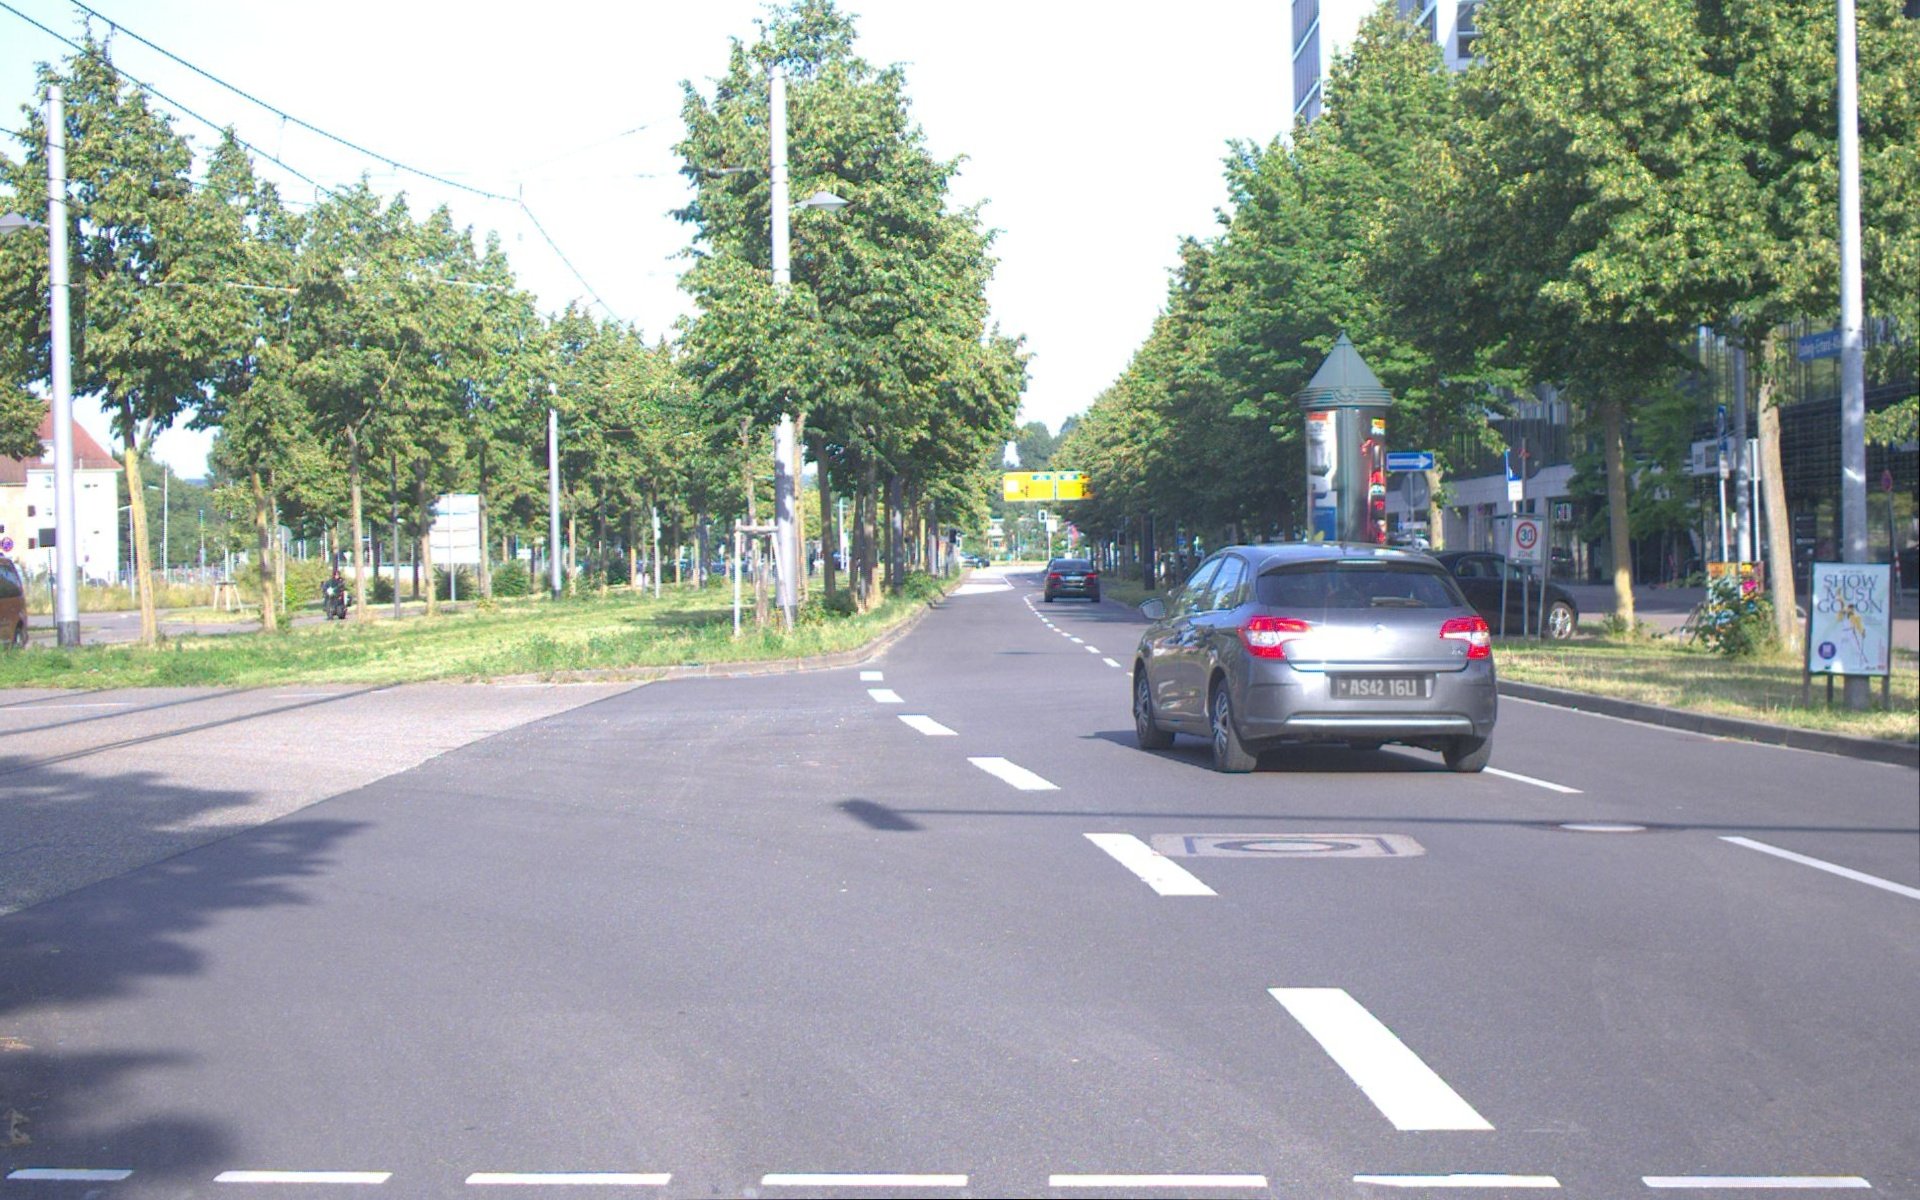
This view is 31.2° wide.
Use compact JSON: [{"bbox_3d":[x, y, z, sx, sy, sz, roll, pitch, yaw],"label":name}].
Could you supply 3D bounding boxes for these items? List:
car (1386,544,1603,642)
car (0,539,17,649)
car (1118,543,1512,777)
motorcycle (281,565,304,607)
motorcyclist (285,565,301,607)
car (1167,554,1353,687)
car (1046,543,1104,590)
[{"bbox_3d":[8.230,-0.107,52.702,1.777,1.419,3.953,1,1,33],"label":"car"},{"bbox_3d":[-16.248,-0.104,54.515,1.684,1.769,3.883,1,0,-3],"label":"car"},{"bbox_3d":[2.281,0.354,23.140,1.694,1.419,4.040,1,0,-8],"label":"car"},{"bbox_3d":[-24.776,-0.516,127.650,0.473,1.525,1.993,1,0,-1],"label":"motorcycle"},{"bbox_3d":[-24.773,-0.527,127.756,0.485,1.559,0.455,1,0,-1],"label":"motorcyclist"},{"bbox_3d":[3.435,0.199,39.979,1.560,1.419,3.908,1,1,-4],"label":"car"},{"bbox_3d":[3.837,-1.107,115.236,1.860,1.519,3.785,1,0,1],"label":"car"}]
